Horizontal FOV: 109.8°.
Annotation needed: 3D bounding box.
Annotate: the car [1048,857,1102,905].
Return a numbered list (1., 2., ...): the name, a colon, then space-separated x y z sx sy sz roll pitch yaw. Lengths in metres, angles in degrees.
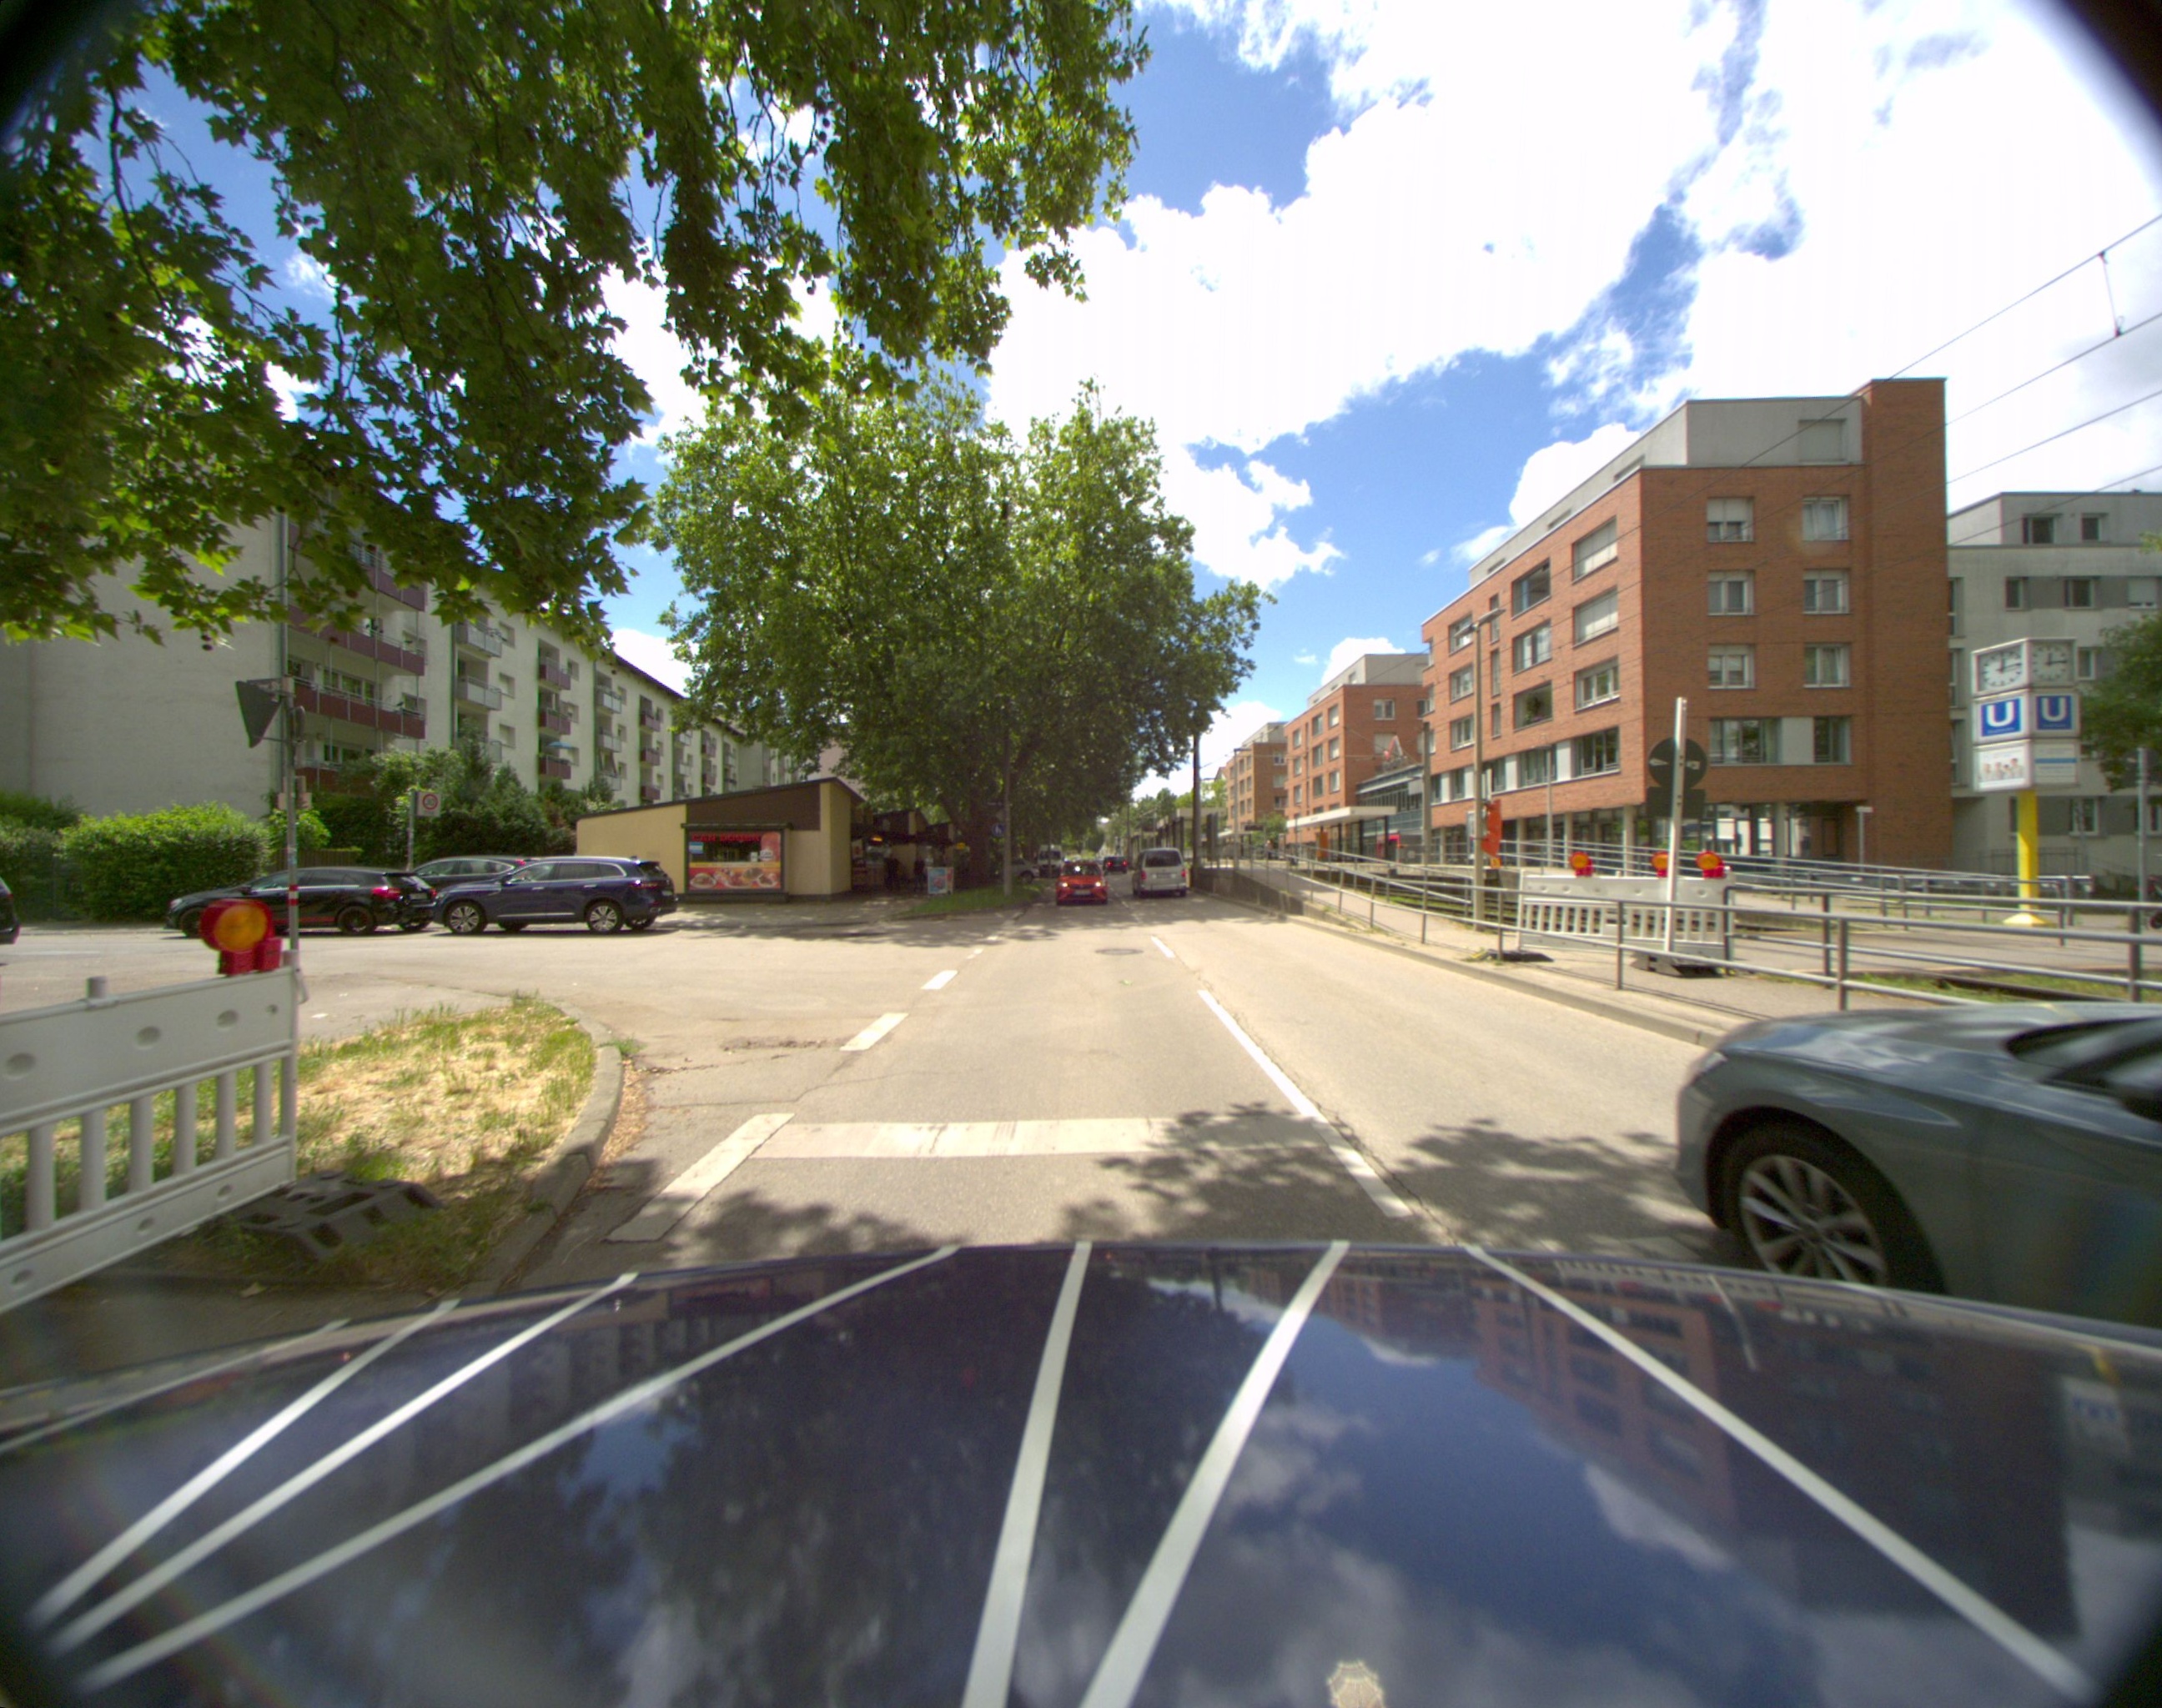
1. car: -0.203 0.879 26.390 1.712 1.439 3.669 -2 1 0

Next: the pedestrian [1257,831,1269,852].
1. pedestrian: 14.354 -0.980 59.881 0.753 1.619 0.815 -1 1 0

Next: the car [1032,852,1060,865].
1. car: -4.446 0.566 96.004 3.417 1.506 1.609 -1 0 -5

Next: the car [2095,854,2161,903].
1. car: 32.533 0.748 21.696 1.848 1.418 4.000 0 1 3

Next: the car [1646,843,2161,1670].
1. car: 2.729 0.708 0.581 1.640 1.426 3.850 -1 1 -2

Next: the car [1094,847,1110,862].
1. car: 2.392 0.030 86.627 1.700 1.556 3.859 -1 1 -1

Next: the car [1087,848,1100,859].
1. car: 1.847 -0.111 113.218 1.767 1.472 4.575 -2 1 -1

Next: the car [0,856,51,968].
1. car: -17.463 0.835 10.174 4.243 1.595 1.891 0 1 -8

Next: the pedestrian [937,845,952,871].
1. pedestrian: -9.866 0.275 54.816 0.923 1.791 0.607 3 3 44

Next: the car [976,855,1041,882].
1. car: -4.452 0.857 46.436 3.841 1.553 1.618 1 1 -7

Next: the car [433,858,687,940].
1. car: -11.336 0.933 16.852 4.192 1.672 2.011 0 0 -8

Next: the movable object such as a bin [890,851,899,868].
1. movable object such as a bin: -10.396 0.304 42.432 0.438 0.909 0.587 0 1 -10

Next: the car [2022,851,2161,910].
1. car: 30.004 0.715 21.478 1.899 1.543 4.000 0 1 2

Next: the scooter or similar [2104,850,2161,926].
1. scooter or similar: 18.062 0.556 12.618 1.299 1.246 0.466 0 1 9

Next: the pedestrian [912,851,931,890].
1. pedestrian: -6.982 0.711 33.272 0.625 1.667 0.771 0 1 0

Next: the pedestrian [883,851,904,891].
1. pedestrian: -8.134 0.745 33.029 0.761 1.715 0.658 1 1 -5

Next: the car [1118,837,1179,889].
1. car: 2.535 0.303 29.513 1.758 1.830 4.645 -1 0 -2

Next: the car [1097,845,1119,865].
1. car: 2.358 0.082 67.666 1.758 1.624 4.118 -2 1 -1

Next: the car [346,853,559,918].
1. car: -16.983 0.811 20.730 4.106 1.645 1.809 0 1 -8

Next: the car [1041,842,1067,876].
1. car: -2.141 0.330 61.951 1.909 2.566 6.832 1 1 0

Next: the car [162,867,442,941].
1. car: -16.215 1.007 16.001 4.000 1.435 1.525 0 0 -8
